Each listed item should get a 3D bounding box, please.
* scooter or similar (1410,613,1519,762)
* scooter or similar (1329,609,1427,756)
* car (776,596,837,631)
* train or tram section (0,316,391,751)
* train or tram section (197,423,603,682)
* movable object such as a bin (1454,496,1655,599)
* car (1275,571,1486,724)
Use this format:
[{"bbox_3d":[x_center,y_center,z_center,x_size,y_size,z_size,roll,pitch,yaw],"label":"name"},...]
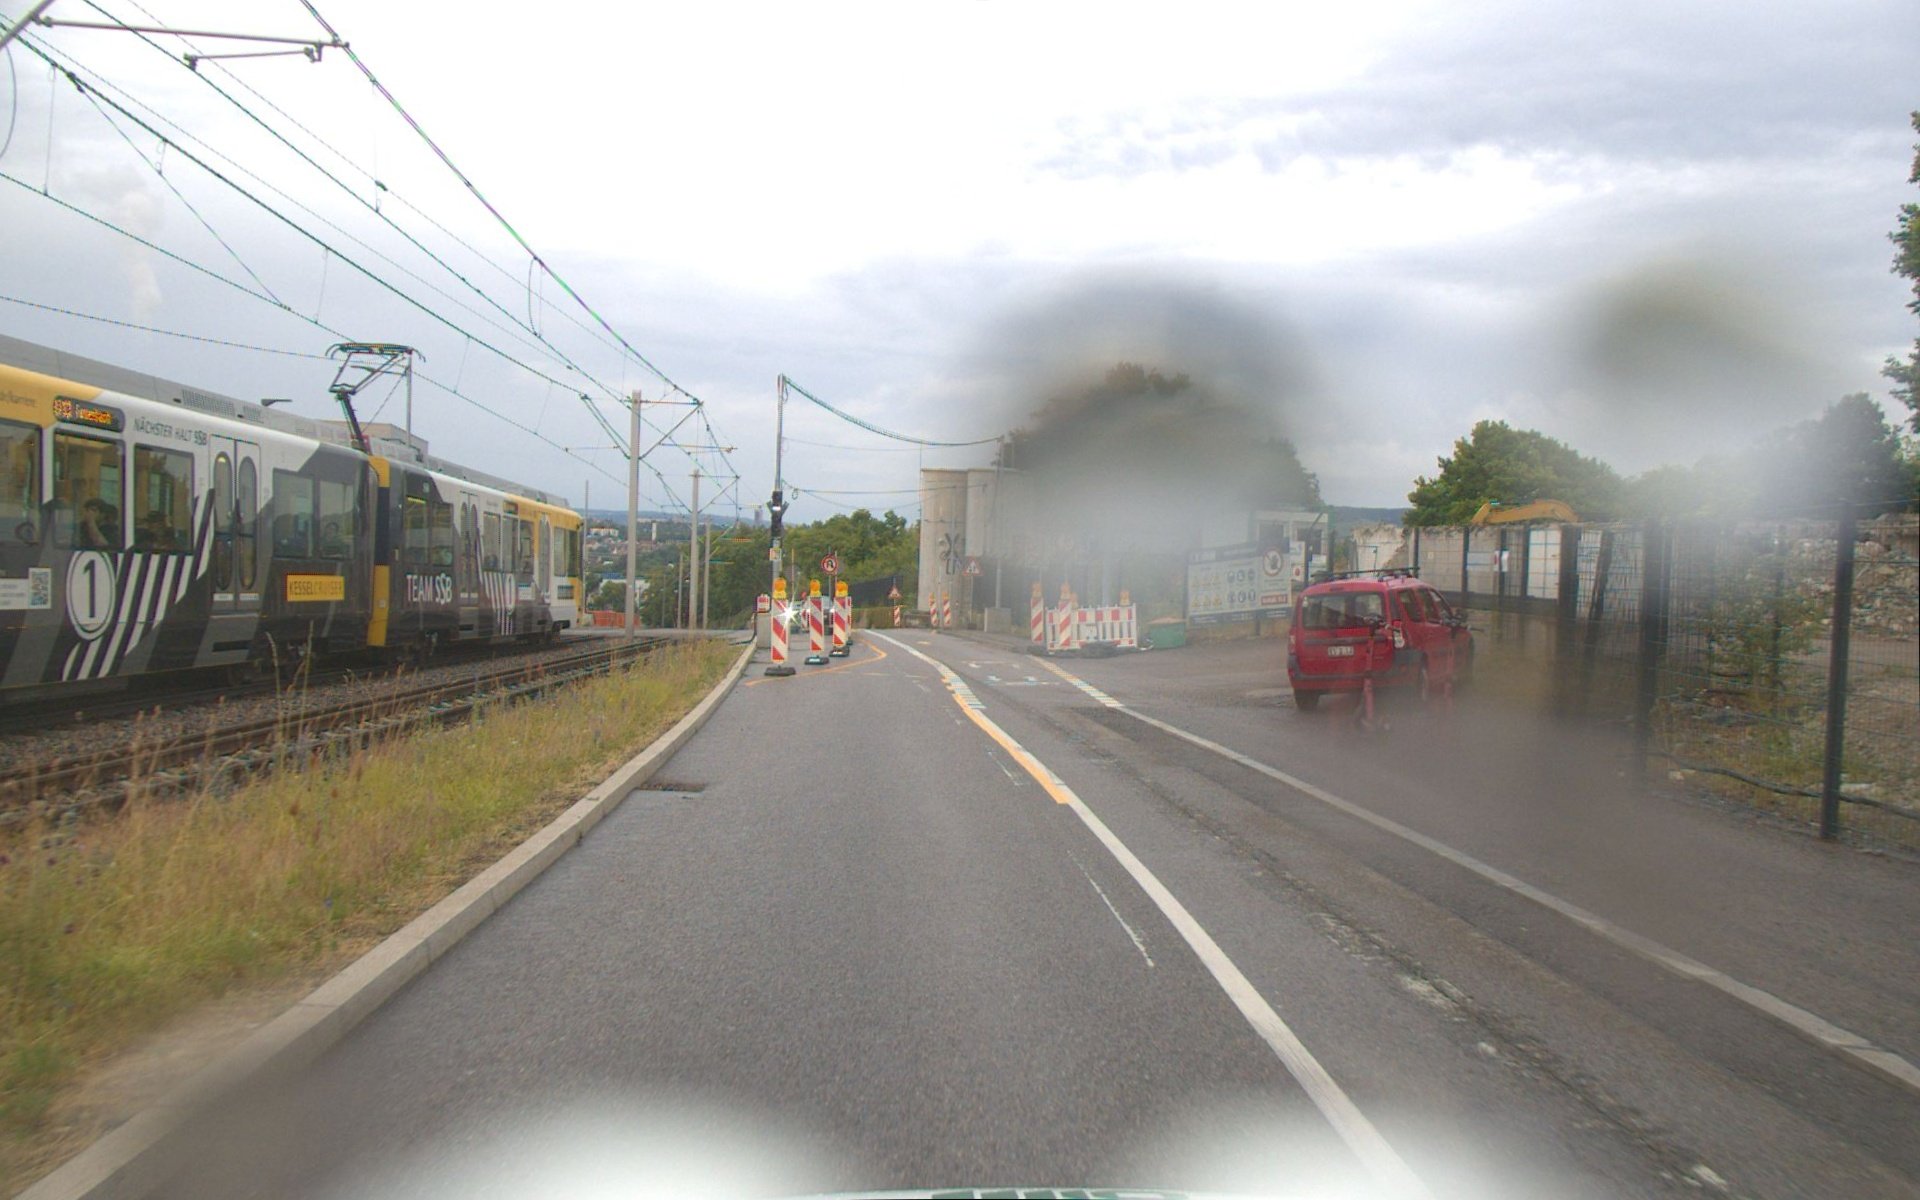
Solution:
[{"bbox_3d":[5.056,0.842,16.685,0.602,1.375,1.913,1,0,3],"label":"scooter or similar"},{"bbox_3d":[4.225,0.799,16.828,0.602,1.375,1.913,1,0,3],"label":"scooter or similar"},{"bbox_3d":[-7.766,0.667,83.186,1.965,1.707,4.460,1,0,-21],"label":"car"},{"bbox_3d":[-10.214,-0.655,16.268,2.895,3.953,19.566,2,0,-2],"label":"train or tram section"},{"bbox_3d":[-10.889,-0.797,35.682,2.896,3.953,19.281,2,0,-3],"label":"train or tram section"},{"bbox_3d":[36.233,-3.192,101.152,10.994,6.100,3.493,0,0,5],"label":"movable object such as a bin"},{"bbox_3d":[5.801,0.572,22.426,1.785,1.825,4.402,1,0,28],"label":"car"}]
